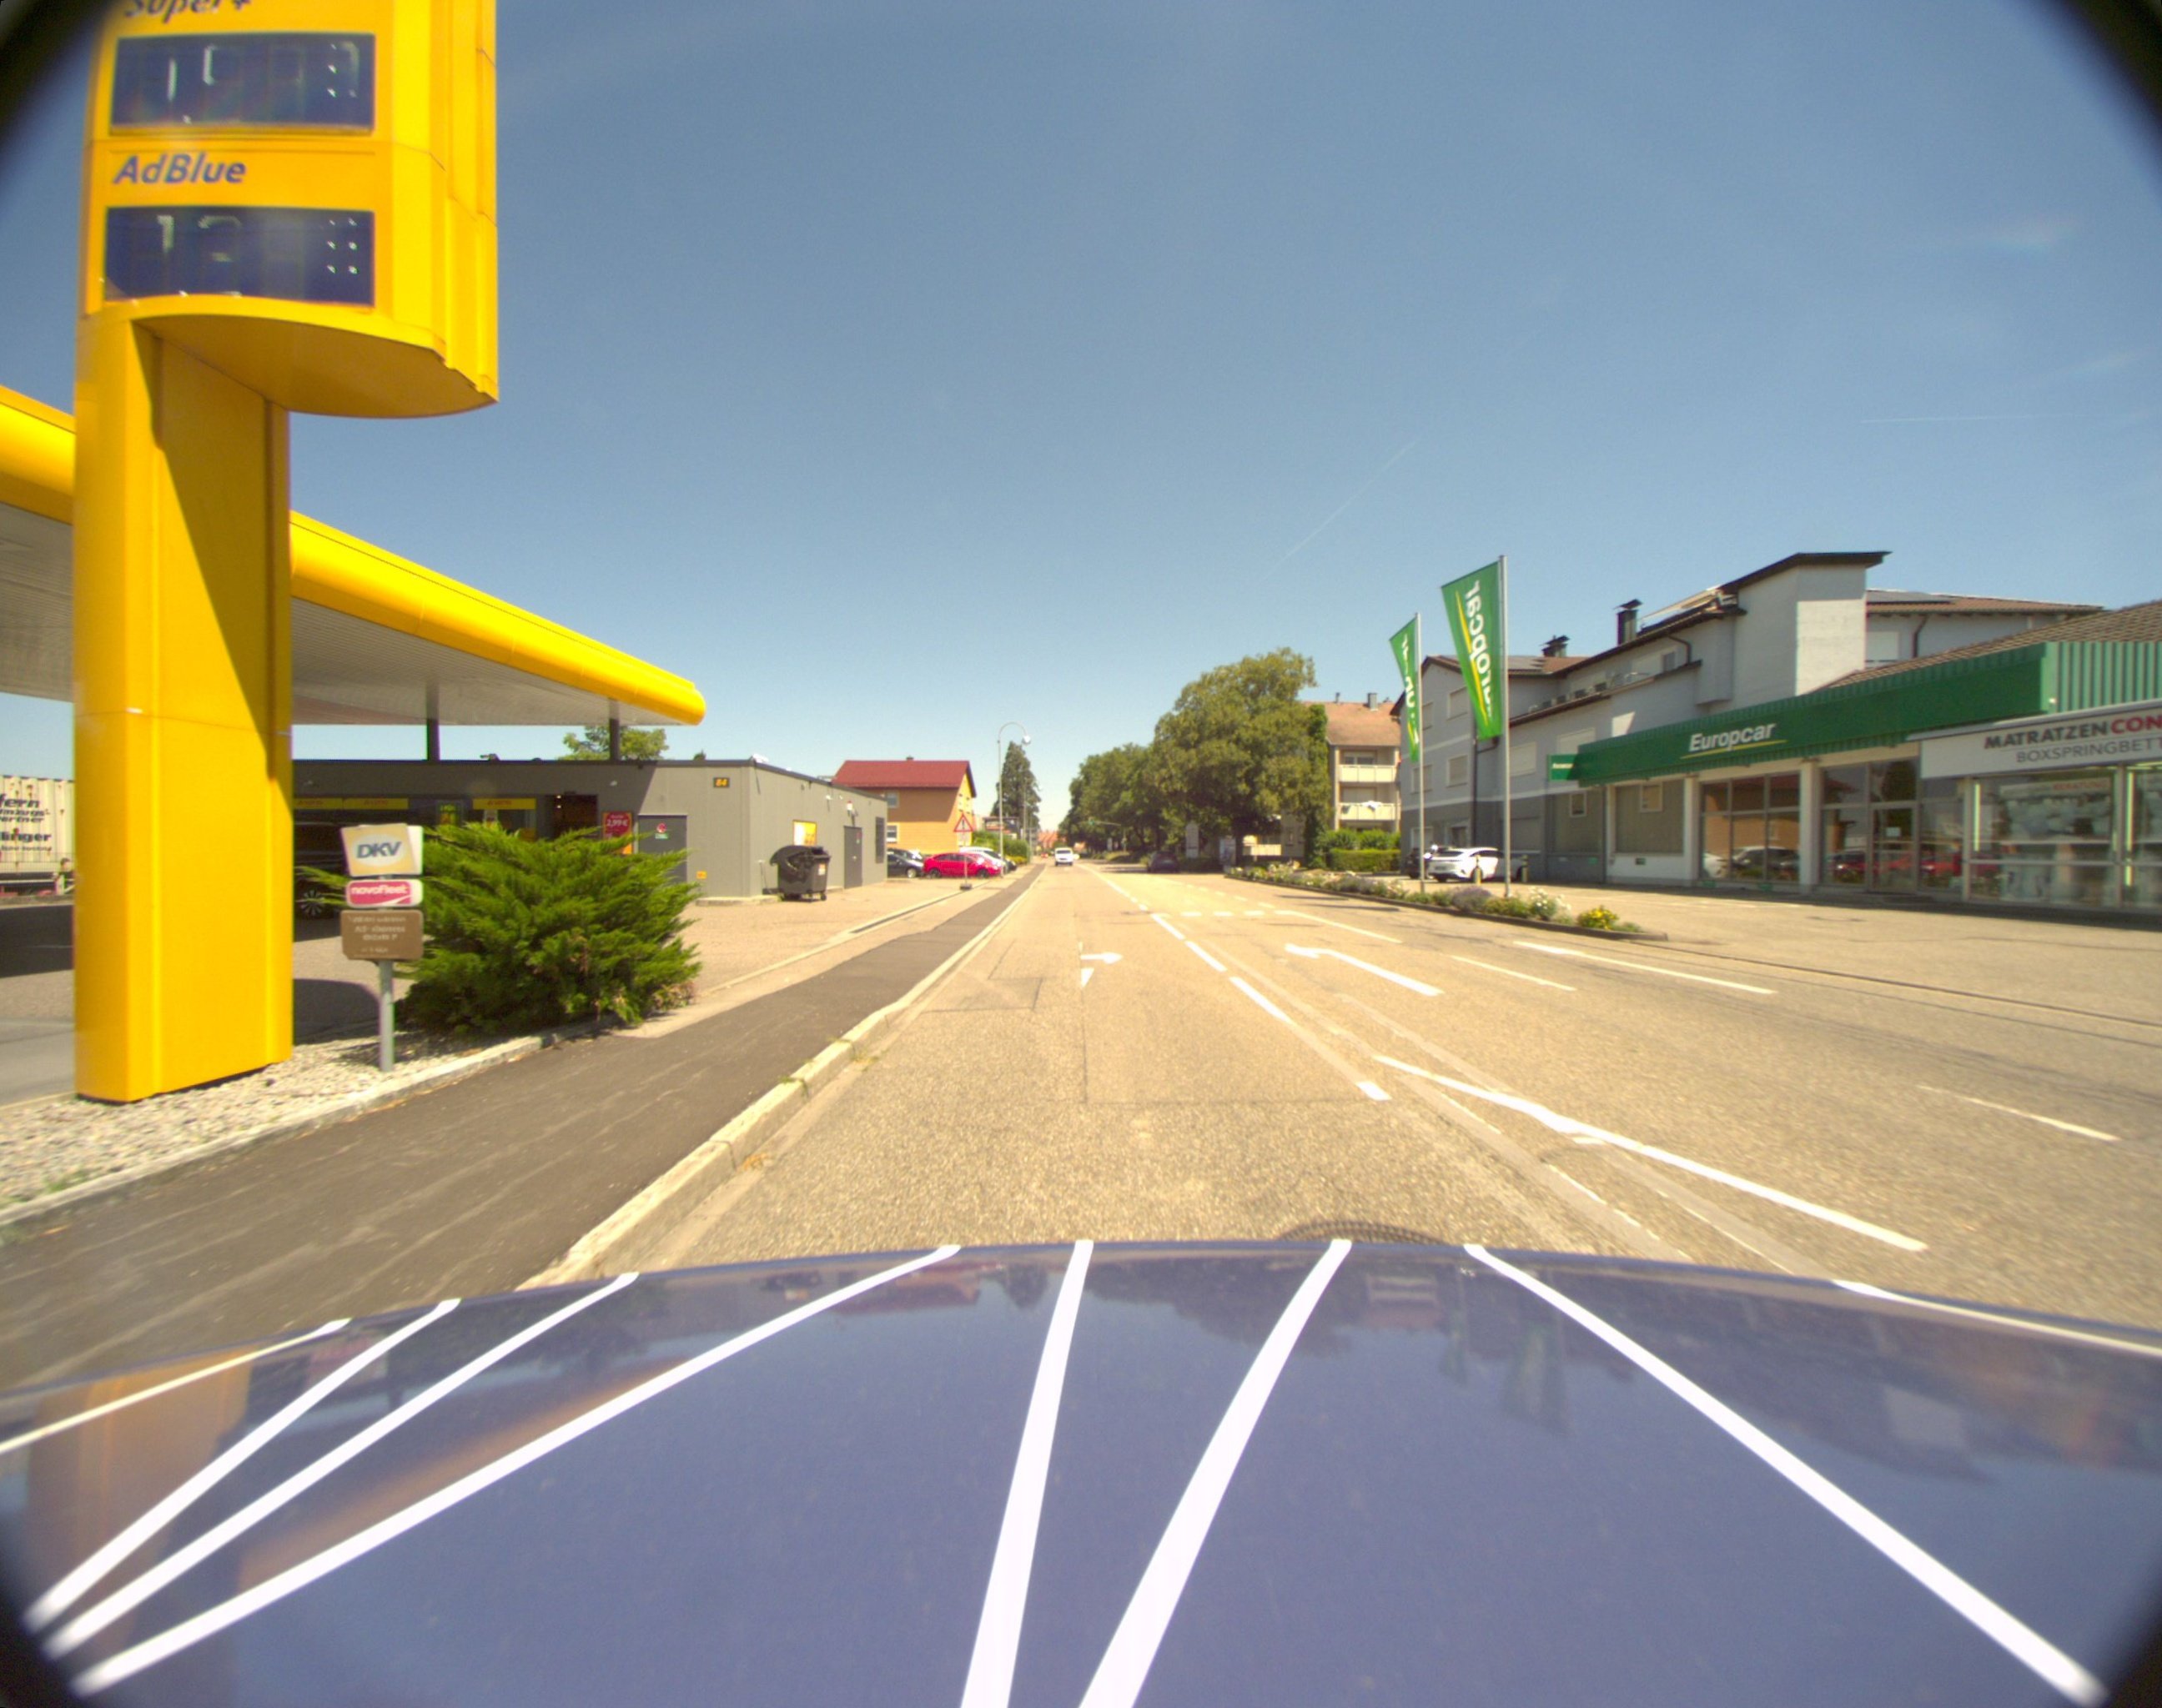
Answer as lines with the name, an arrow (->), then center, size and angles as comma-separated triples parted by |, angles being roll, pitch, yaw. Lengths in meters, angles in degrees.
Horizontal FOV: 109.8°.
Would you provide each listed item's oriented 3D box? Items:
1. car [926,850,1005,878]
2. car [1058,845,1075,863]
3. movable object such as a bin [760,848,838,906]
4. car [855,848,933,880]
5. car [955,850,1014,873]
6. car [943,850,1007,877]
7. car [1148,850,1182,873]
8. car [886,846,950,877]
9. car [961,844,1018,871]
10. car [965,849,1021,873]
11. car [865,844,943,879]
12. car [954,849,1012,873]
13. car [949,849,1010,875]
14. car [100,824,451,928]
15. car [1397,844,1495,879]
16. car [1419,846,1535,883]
car -> -6.473, 0.569, 42.961 | 4.236, 1.525, 1.958 | 1, 0, -2
car -> -1.620, -0.003, 84.927 | 1.797, 1.904, 3.639 | -1, 1, -3
movable object such as a bin -> -7.252, 0.573, 19.627 | 1.438, 1.429, 1.467 | 1, 0, 0
car -> -10.973, 0.569, 44.806 | 4.050, 1.658, 1.782 | -3, 0, -2
car -> -6.550, 0.523, 52.089 | 3.802, 1.501, 1.833 | 1, 0, -1
car -> -6.289, 0.542, 45.434 | 3.695, 1.557, 1.708 | 1, 0, -5
car -> 5.725, 0.499, 52.006 | 1.767, 1.518, 4.137 | 0, 0, -1
car -> -11.151, 0.500, 52.221 | 3.903, 1.827, 1.688 | -3, 1, 0
car -> -6.799, 0.271, 56.437 | 4.147, 1.927, 1.807 | 0, 0, -7
car -> -6.269, 0.490, 54.358 | 3.886, 1.671, 1.763 | 1, 0, -4
car -> -10.927, 0.477, 47.271 | 4.352, 1.885, 1.971 | -3, 1, -4
car -> -6.411, 0.459, 50.006 | 3.695, 1.557, 1.641 | 1, 0, -3
car -> -6.343, 0.523, 47.740 | 3.695, 1.557, 1.749 | 1, 0, -5
car -> -16.301, 0.418, 15.589 | 5.062, 1.964, 2.000 | 0, 1, 1
car -> 16.847, 0.316, 35.193 | 3.569, 1.556, 1.969 | 0, 1, -1
car -> 16.317, 0.388, 31.312 | 4.360, 1.430, 1.936 | -1, 1, -23
